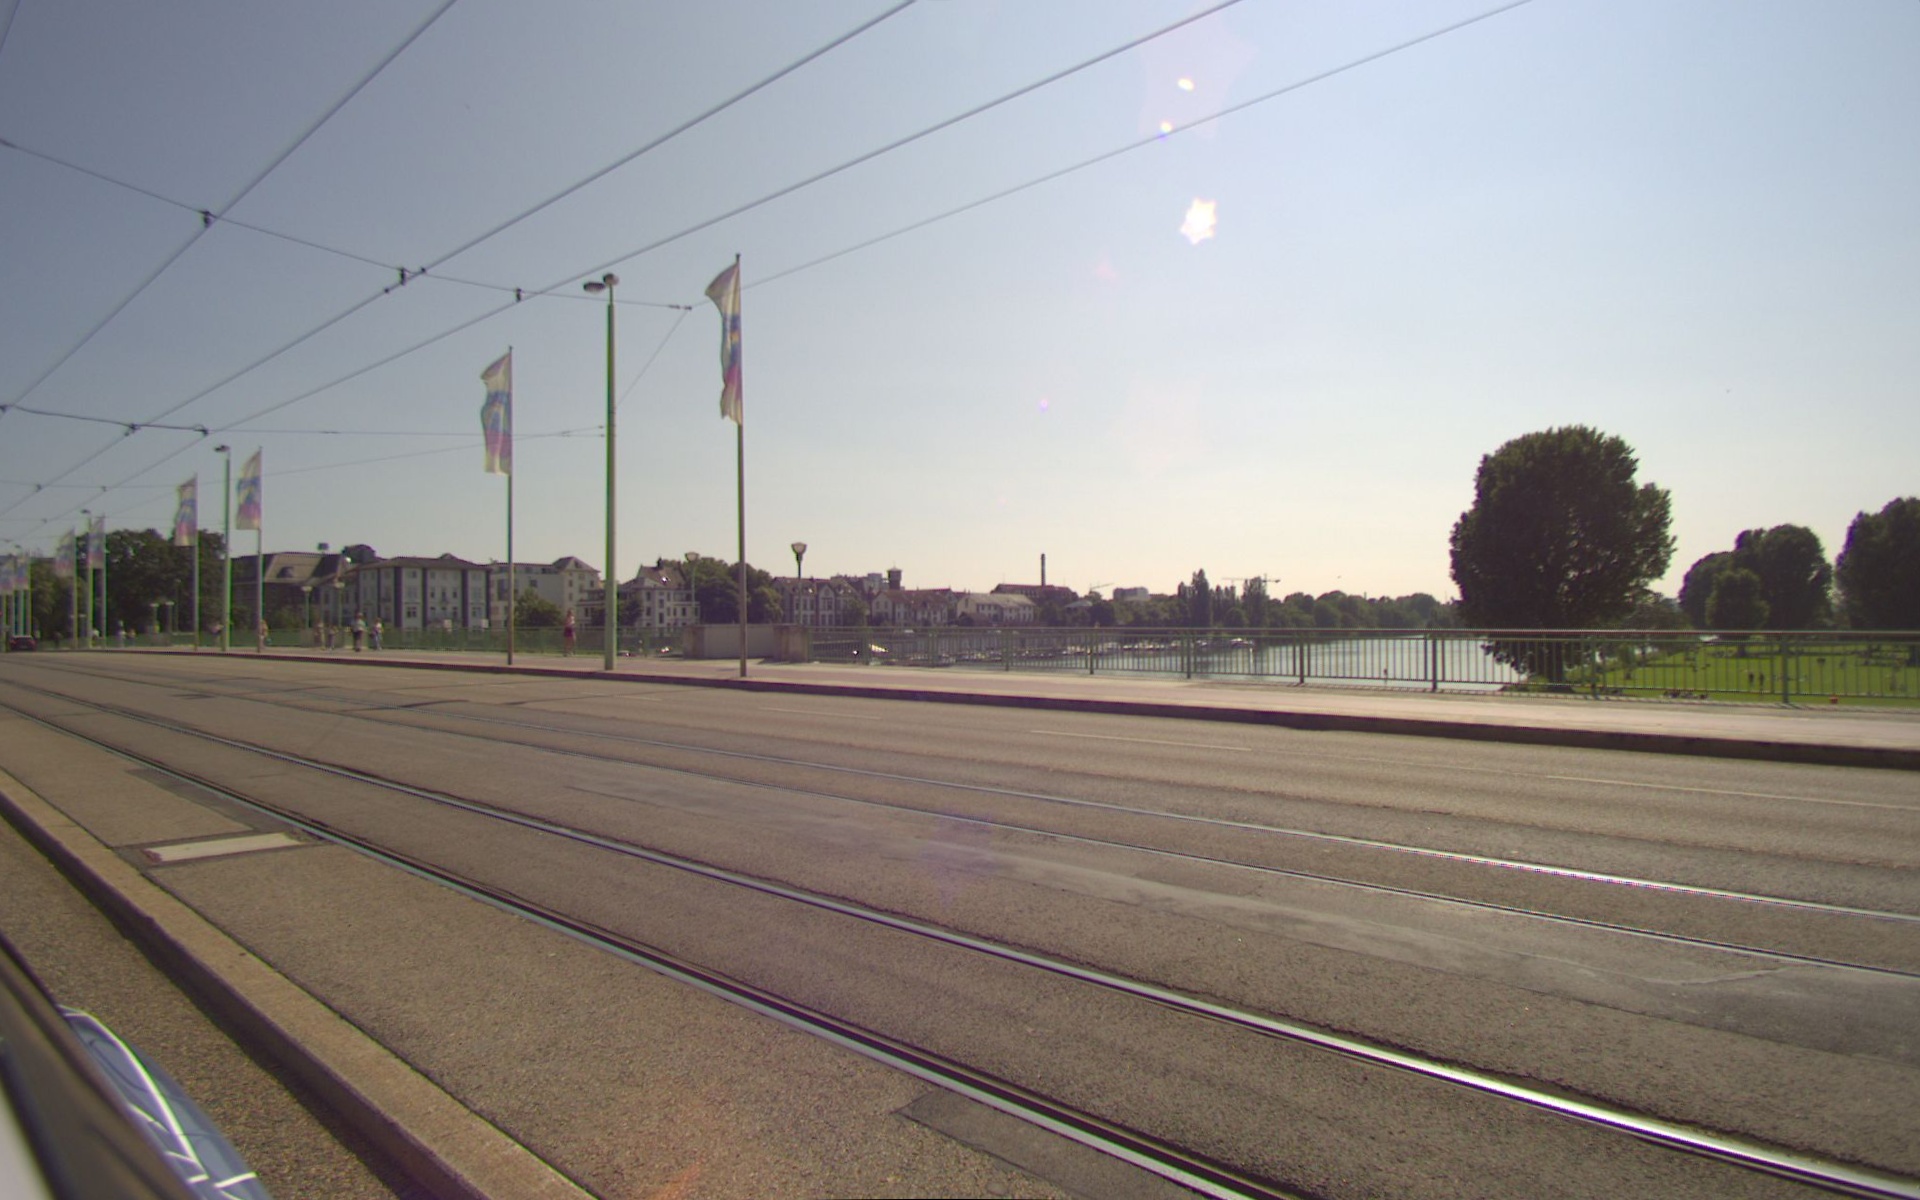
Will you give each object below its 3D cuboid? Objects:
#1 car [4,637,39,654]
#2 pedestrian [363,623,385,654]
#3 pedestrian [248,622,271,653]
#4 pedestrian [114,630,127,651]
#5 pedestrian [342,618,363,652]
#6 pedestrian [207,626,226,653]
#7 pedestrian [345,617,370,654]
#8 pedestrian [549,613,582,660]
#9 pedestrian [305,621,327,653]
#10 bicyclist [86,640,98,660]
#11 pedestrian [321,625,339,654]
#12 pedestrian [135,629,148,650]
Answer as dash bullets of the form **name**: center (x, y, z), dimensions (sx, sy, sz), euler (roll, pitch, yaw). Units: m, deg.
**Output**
- **car**: center (-80.628, 3.903, 86.932), dimensions (3.899, 1.465, 1.698), euler (-2, -2, 41)
- **pedestrian**: center (-27.570, 1.821, 47.608), dimensions (1.022, 1.425, 0.584), euler (-2, 0, 41)
- **pedestrian**: center (-39.895, 2.105, 57.633), dimensions (1.022, 1.712, 0.777), euler (-2, 1, 41)
- **pedestrian**: center (-72.252, 3.478, 87.129), dimensions (1.022, 1.712, 0.584), euler (-2, 3, 41)
- **pedestrian**: center (-30.967, 1.788, 51.605), dimensions (1.022, 1.712, 0.584), euler (-2, 0, 41)
- **pedestrian**: center (-48.465, 2.548, 65.973), dimensions (1.022, 1.712, 0.777), euler (-2, 1, 41)
- **pedestrian**: center (-28.150, 1.651, 47.302), dimensions (1.022, 1.712, 0.663), euler (-2, 0, 41)
- **pedestrian**: center (-14.454, 1.330, 37.097), dimensions (1.022, 1.703, 0.677), euler (-2, 0, 41)
- **pedestrian**: center (-32.545, 1.865, 51.114), dimensions (1.022, 1.611, 0.620), euler (-2, 0, 41)
- **bicyclist**: center (-72.124, 4.126, 84.092), dimensions (0.621, 1.663, 0.657), euler (-2, -2, 41)
- **pedestrian**: center (-32.118, 2.013, 51.582), dimensions (0.788, 1.448, 0.540), euler (-2, 0, 41)
- **pedestrian**: center (-69.585, 3.321, 86.047), dimensions (0.904, 1.712, 0.584), euler (-2, 3, 41)
